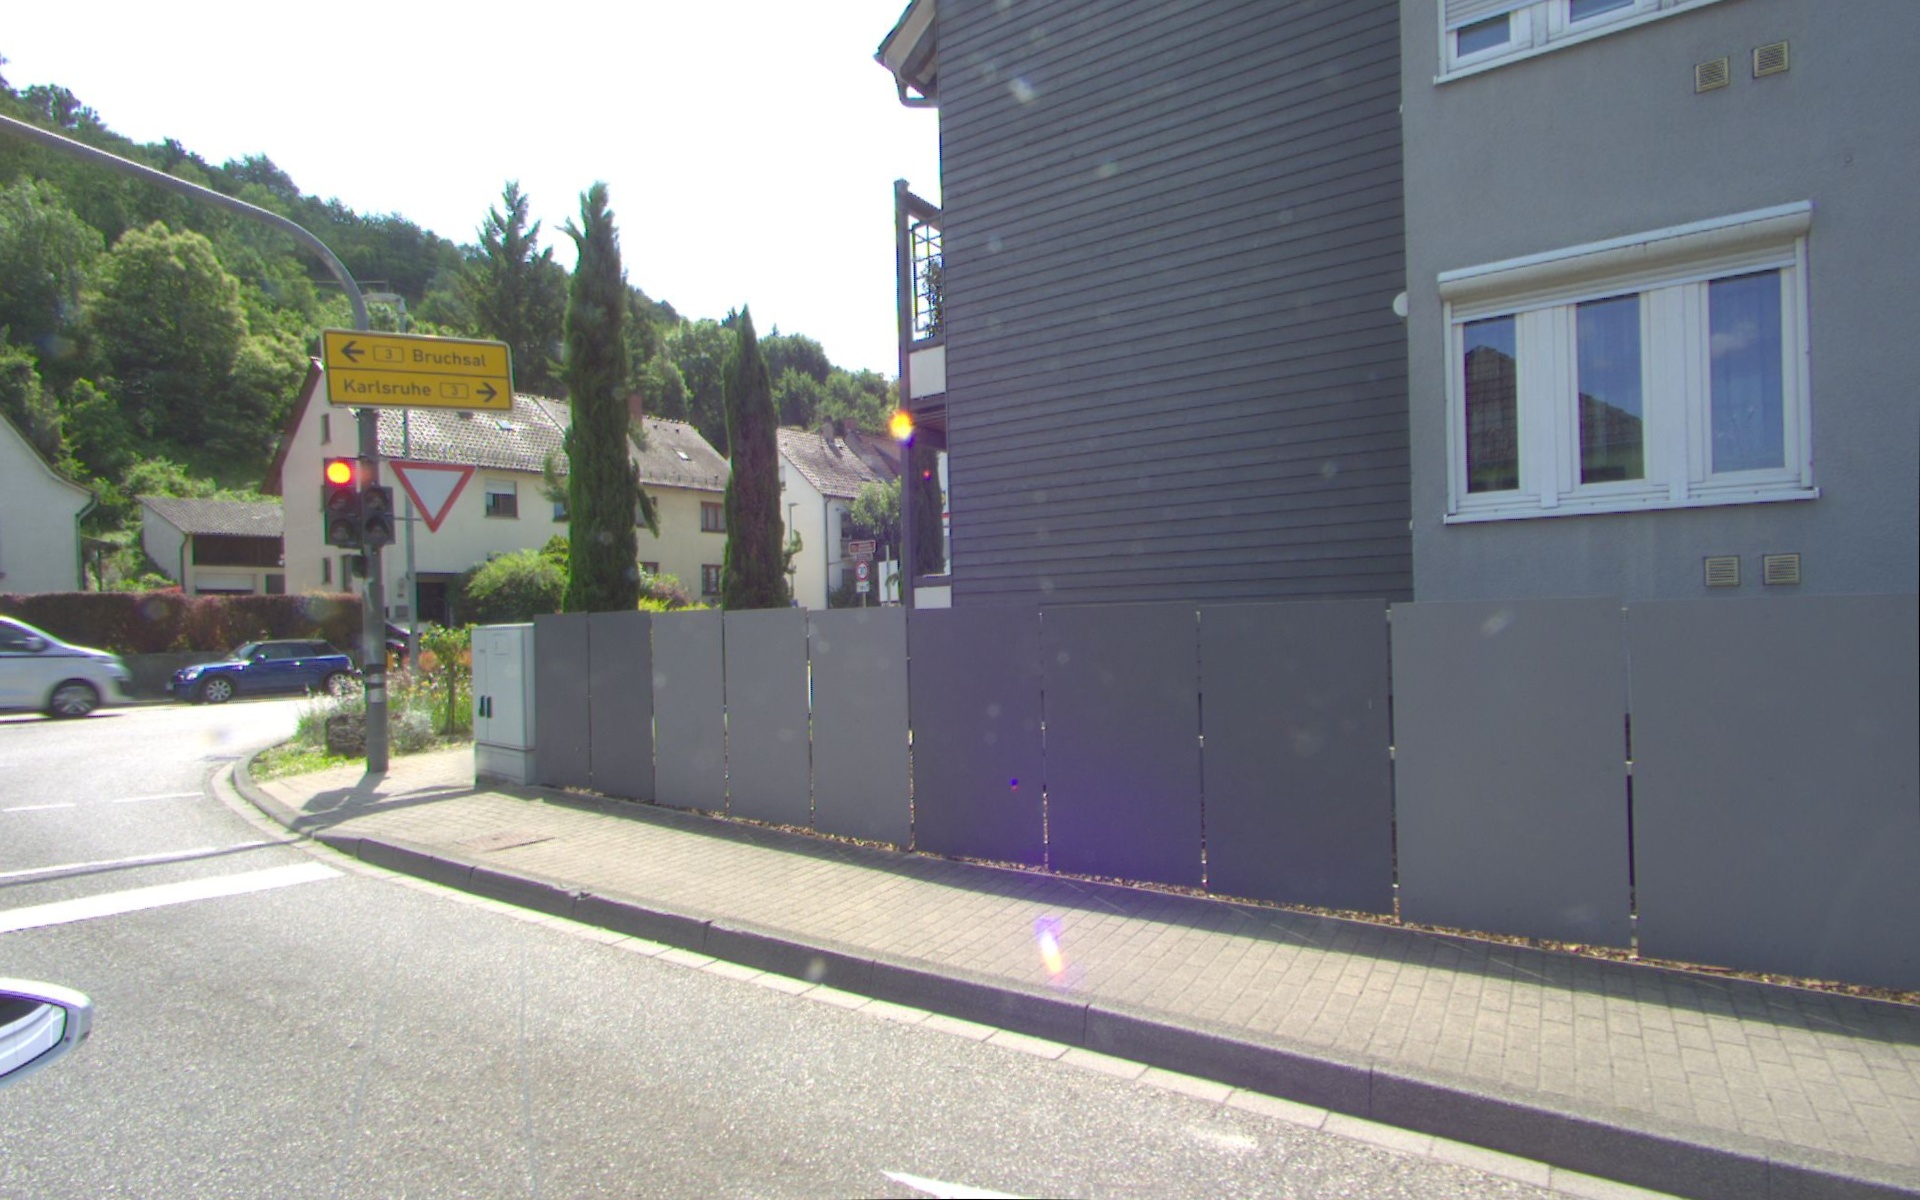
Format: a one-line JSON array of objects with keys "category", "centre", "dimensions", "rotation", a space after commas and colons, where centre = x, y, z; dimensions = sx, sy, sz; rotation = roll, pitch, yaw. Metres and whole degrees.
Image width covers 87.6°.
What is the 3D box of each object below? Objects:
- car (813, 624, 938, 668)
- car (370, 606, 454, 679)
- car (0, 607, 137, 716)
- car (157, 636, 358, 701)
[{"category": "car", "centre": [-3.017, 1.659, 36.699], "dimensions": [1.905, 1.445, 4.645], "rotation": [-4, -3, 39]}, {"category": "car", "centre": [-17.342, 1.284, 31.607], "dimensions": [1.780, 1.410, 3.650], "rotation": [0, 12, -38]}, {"category": "car", "centre": [-17.306, 1.082, 17.013], "dimensions": [1.977, 1.844, 4.853], "rotation": [-4, -3, 39]}, {"category": "car", "centre": [-16.587, 1.591, 23.788], "dimensions": [1.624, 1.379, 3.597], "rotation": [-5, -4, 36]}]
